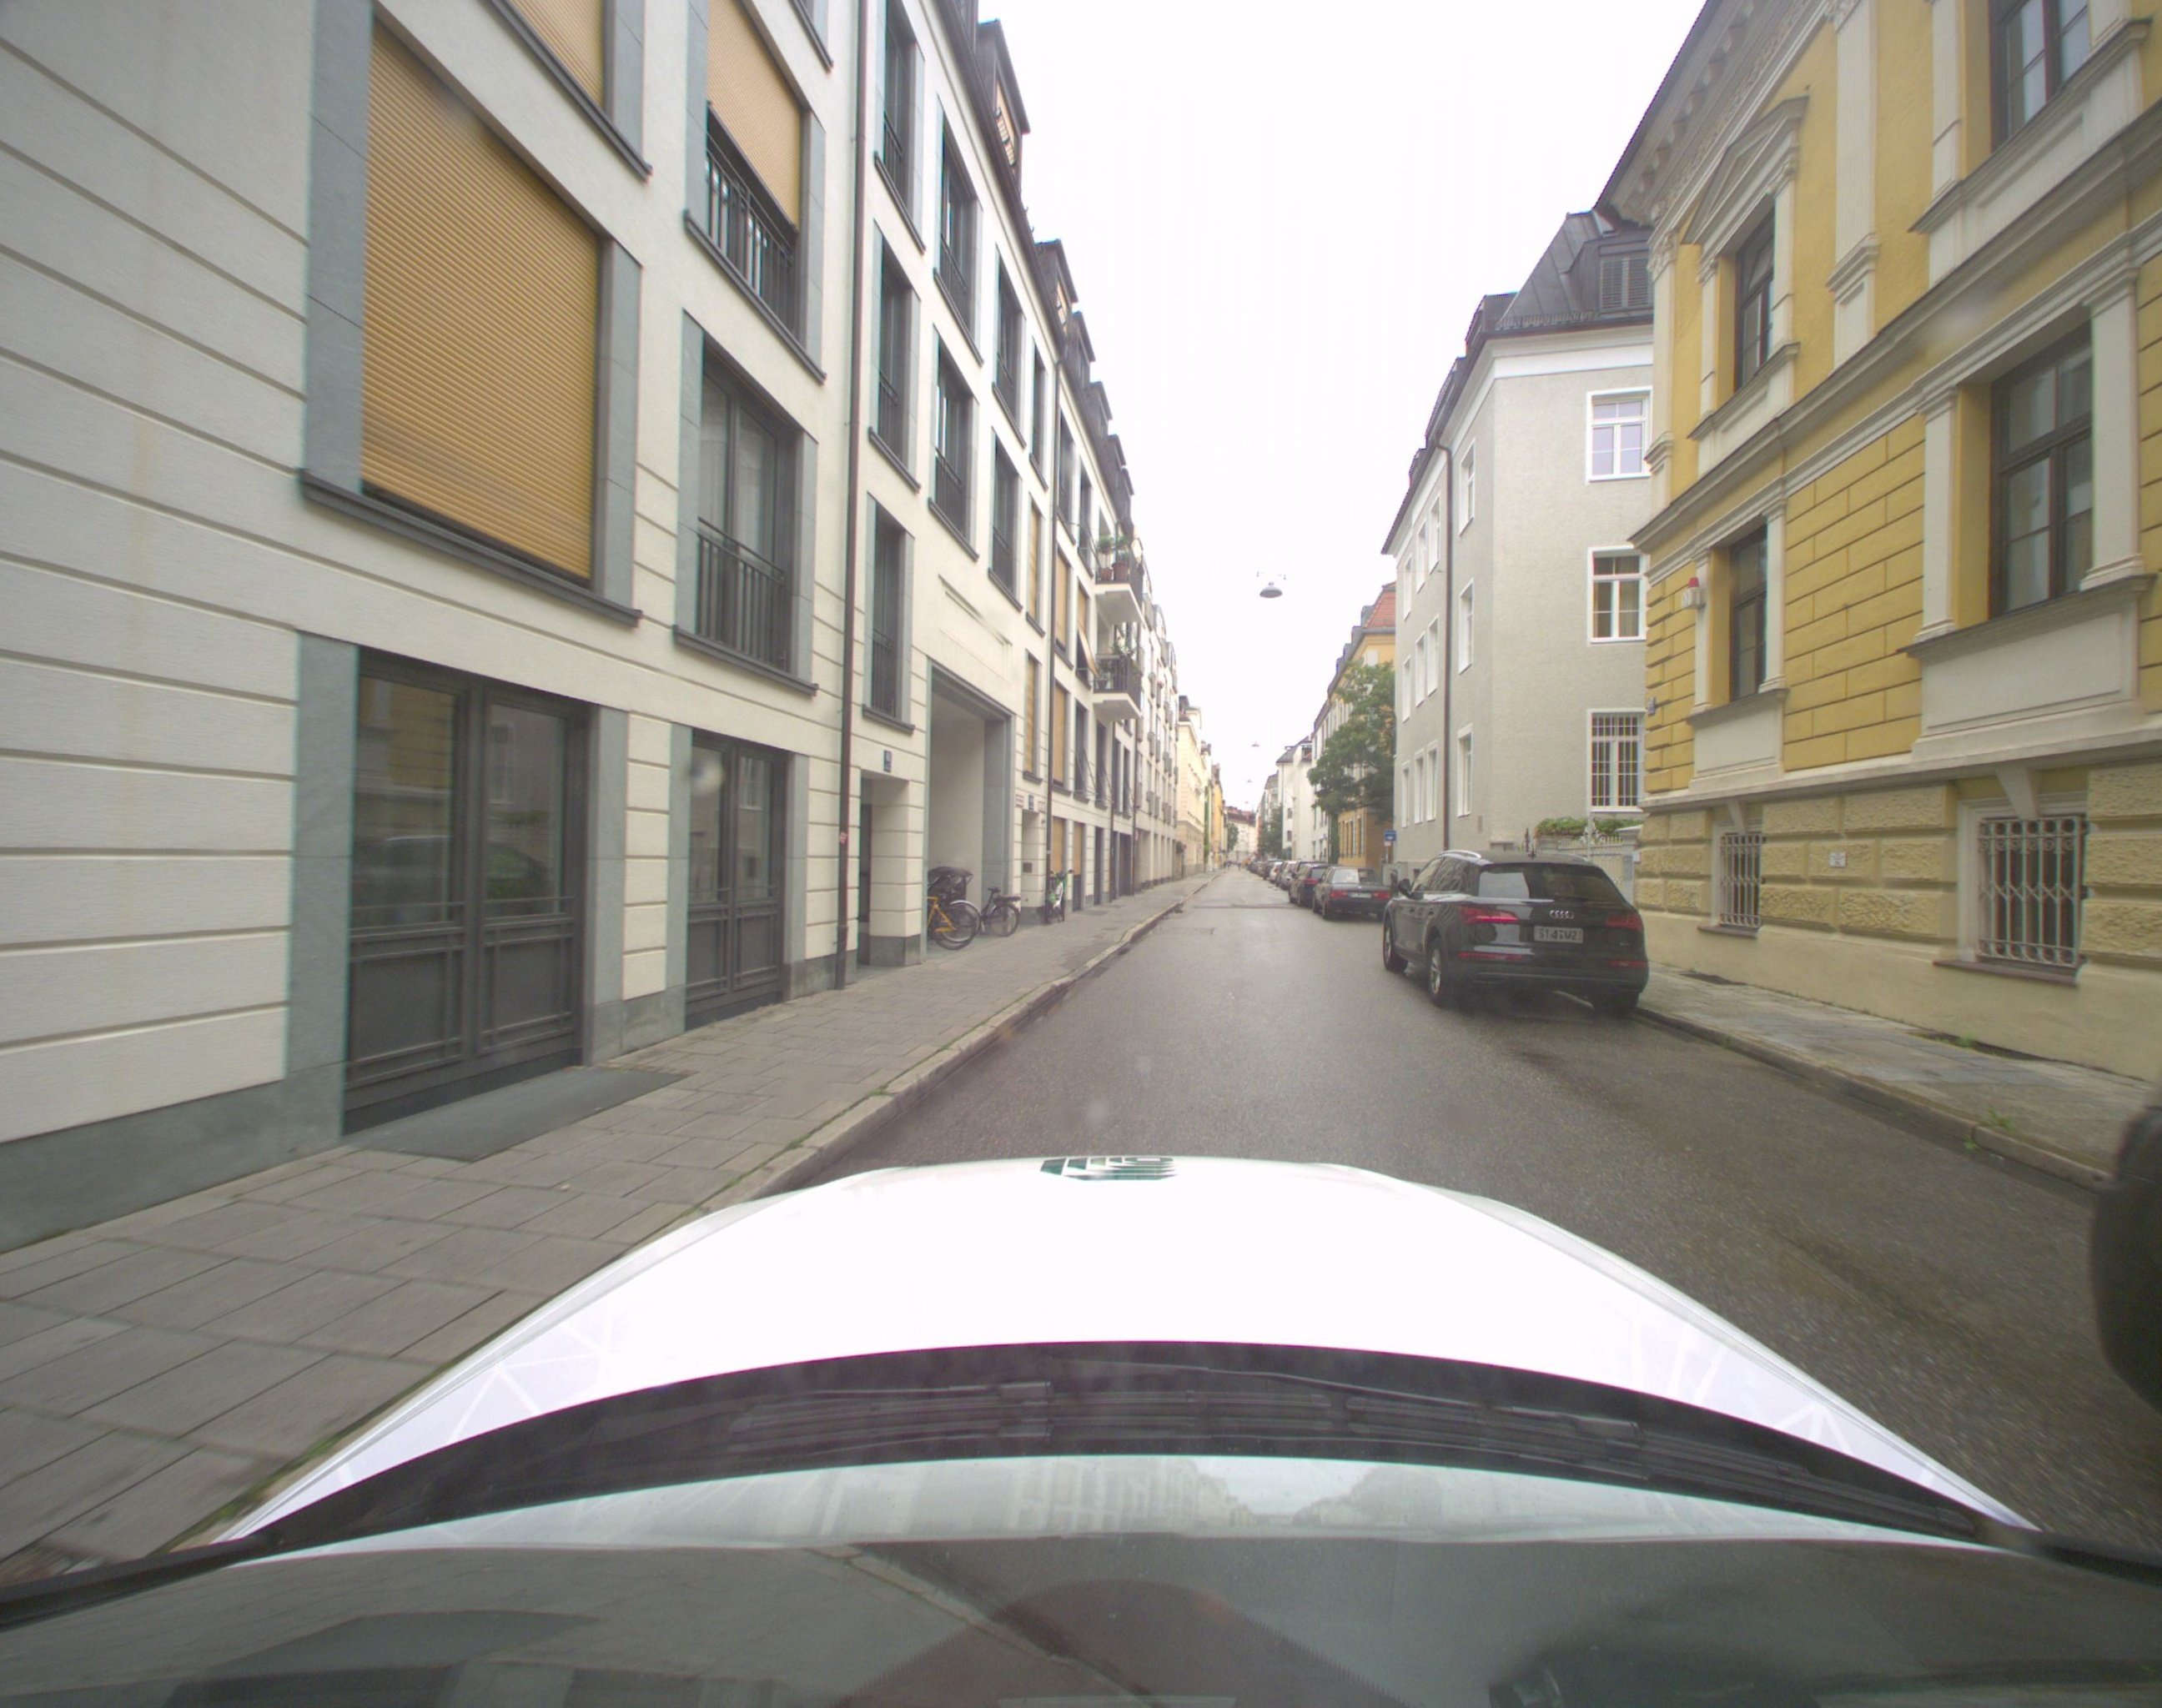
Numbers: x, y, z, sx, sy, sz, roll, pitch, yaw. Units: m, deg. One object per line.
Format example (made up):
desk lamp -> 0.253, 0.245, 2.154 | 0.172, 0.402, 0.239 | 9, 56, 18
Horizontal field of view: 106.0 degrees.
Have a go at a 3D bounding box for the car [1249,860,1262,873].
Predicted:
car -> 26.413, 1.841, 123.314 | 1.690, 1.917, 3.784 | 1, 0, 10

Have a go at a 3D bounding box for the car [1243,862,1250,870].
car -> 38.498, 2.767, 189.266 | 1.356, 1.656, 3.475 | 1, 0, 9

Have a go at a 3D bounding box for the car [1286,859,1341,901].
car -> 9.209, 0.990, 32.475 | 1.690, 1.546, 3.784 | 1, 0, 10

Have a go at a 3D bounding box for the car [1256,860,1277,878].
car -> 17.751, 1.444, 77.960 | 1.690, 1.623, 3.784 | 1, 0, 10

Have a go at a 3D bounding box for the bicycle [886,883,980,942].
bicycle -> -2.359, 0.934, 13.015 | 1.392, 0.888, 0.377 | 2, 1, -24

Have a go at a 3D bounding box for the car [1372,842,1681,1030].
car -> 4.800, 0.739, 9.564 | 1.882, 1.641, 4.333 | 1, 0, 10

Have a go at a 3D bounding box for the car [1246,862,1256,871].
car -> 32.551, 2.380, 156.082 | 1.646, 1.699, 3.466 | 1, 0, 9

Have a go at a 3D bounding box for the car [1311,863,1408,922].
car -> 7.392, 0.971, 21.964 | 1.882, 1.376, 3.806 | 1, 0, 10

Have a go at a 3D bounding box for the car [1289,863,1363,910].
car -> 8.087, 1.019, 27.218 | 1.882, 1.376, 3.951 | 1, 0, 10

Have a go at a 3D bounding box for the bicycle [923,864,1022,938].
bicycle -> -1.859, 0.798, 14.129 | 1.693, 1.193, 0.376 | 2, 1, -36

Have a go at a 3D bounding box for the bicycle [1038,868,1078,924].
bicycle -> -0.480, 0.877, 17.778 | 0.337, 1.146, 2.198 | 1, -1, 12

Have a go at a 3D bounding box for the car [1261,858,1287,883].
car -> 15.257, 1.299, 64.526 | 1.690, 1.900, 3.784 | 1, 0, 10

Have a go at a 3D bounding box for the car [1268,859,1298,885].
car -> 13.425, 1.192, 54.341 | 1.690, 1.623, 3.784 | 1, 0, 10

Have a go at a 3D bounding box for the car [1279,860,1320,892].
car -> 11.286, 1.100, 42.195 | 1.690, 1.546, 3.784 | 1, 0, 10

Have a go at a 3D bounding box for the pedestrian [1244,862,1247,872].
pedestrian -> 28.583, 2.218, 141.296 | 0.535, 1.654, 0.378 | 1, 0, 11

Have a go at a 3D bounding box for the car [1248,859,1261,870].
car -> 25.055, 1.500, 117.743 | 1.746, 1.630, 3.603 | 1, 0, 10

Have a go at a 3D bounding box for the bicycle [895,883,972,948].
bicycle -> -2.231, 0.925, 12.330 | 1.068, 0.947, 0.306 | 2, 1, -24

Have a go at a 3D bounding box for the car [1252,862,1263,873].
car -> 28.797, 2.136, 133.083 | 1.646, 1.699, 3.466 | 1, 0, 9

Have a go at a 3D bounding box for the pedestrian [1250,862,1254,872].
pedestrian -> 28.887, 2.195, 137.638 | 0.535, 1.654, 0.378 | 1, 0, 11

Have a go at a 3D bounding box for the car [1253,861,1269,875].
car -> 21.933, 1.685, 99.149 | 1.690, 1.623, 3.784 | 1, 0, 10

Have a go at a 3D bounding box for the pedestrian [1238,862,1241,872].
pedestrian -> 27.347, 2.184, 140.386 | 0.535, 1.654, 0.378 | 1, 0, 11
